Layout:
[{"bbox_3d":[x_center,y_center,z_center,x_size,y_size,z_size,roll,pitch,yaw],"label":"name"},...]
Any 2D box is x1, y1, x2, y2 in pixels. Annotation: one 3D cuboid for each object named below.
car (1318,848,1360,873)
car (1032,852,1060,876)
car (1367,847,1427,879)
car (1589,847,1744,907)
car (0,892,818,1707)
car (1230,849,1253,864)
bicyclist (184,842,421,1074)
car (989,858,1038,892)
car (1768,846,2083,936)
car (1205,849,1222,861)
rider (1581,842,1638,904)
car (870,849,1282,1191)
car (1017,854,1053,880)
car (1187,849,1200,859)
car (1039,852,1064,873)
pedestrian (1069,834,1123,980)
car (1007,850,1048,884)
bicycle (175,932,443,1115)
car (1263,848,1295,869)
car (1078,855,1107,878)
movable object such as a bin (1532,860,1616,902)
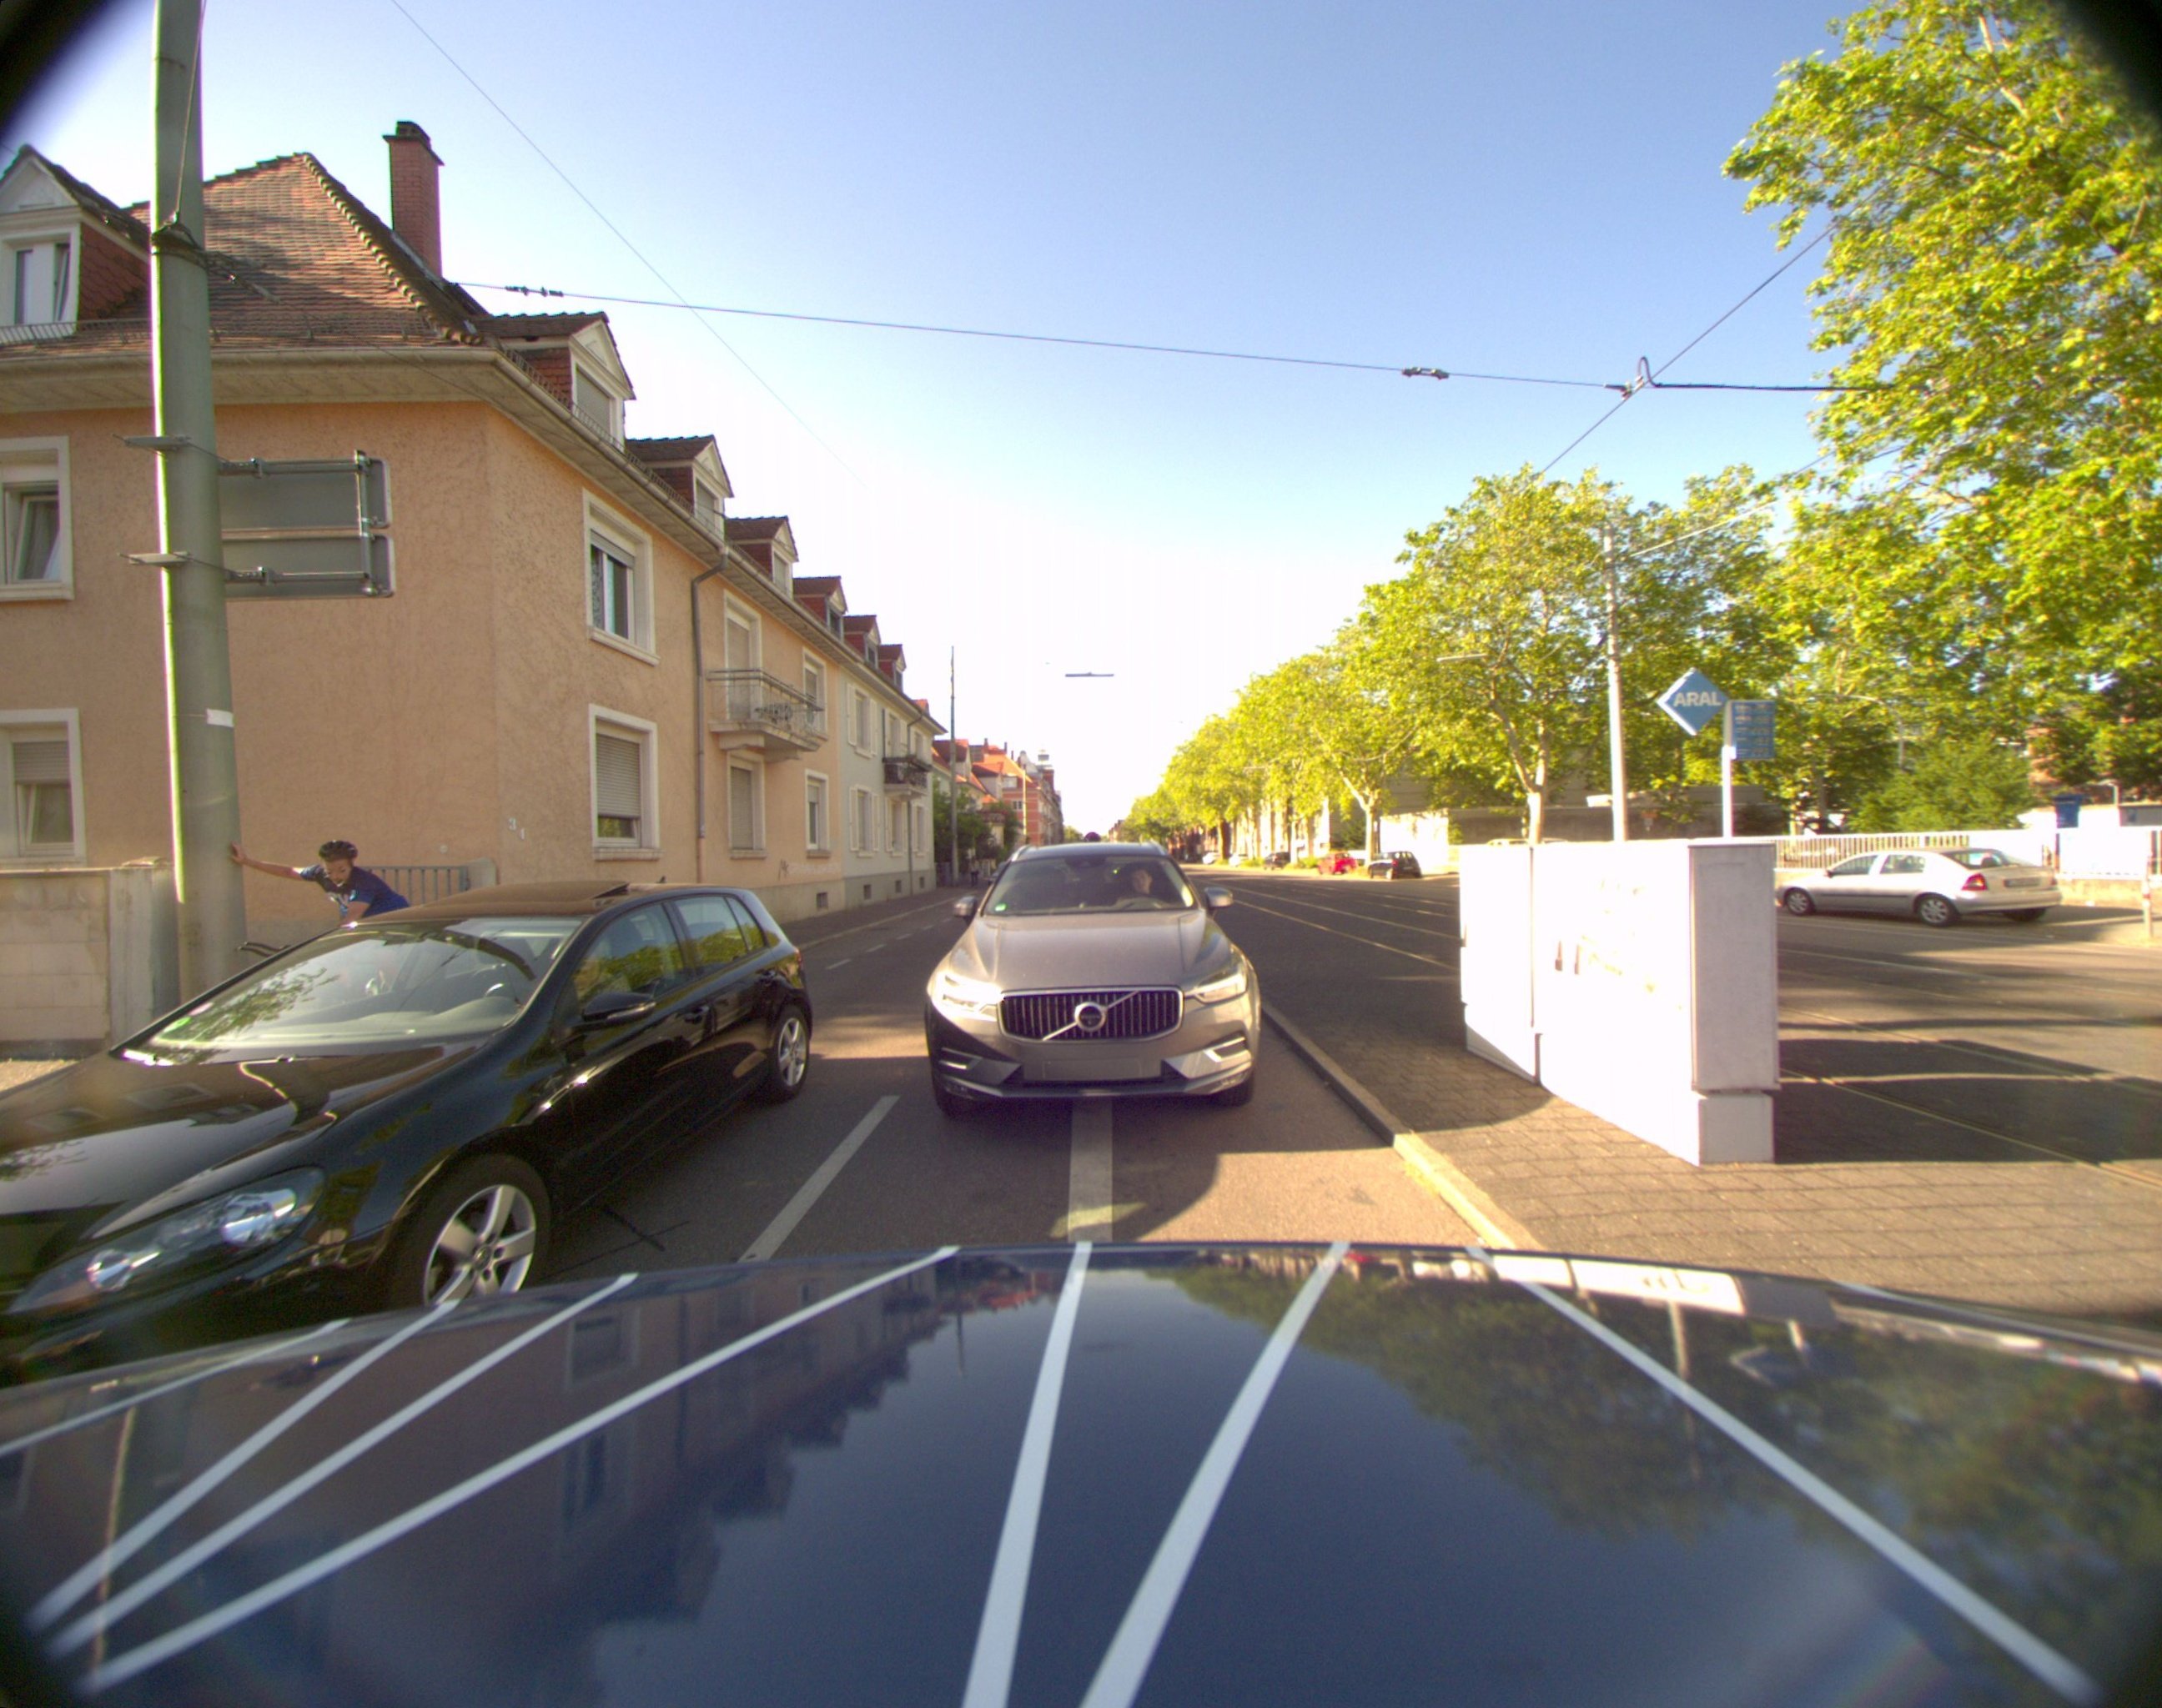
[{"bbox_3d":[16.926,0.405,50.043,1.661,1.486,3.377,-4,1,3],"label":"car"},{"bbox_3d":[-2.781,0.775,60.903,1.825,1.701,4.334,-2,1,1],"label":"car"},{"bbox_3d":[16.879,0.446,40.758,1.723,1.436,3.769,-4,1,3],"label":"car"},{"bbox_3d":[16.365,0.578,21.464,1.619,1.436,3.606,-4,1,3],"label":"car"},{"bbox_3d":[-2.768,1.036,3.381,1.717,1.430,3.990,-2,1,1],"label":"car"},{"bbox_3d":[17.621,0.247,83.457,1.754,1.532,3.878,-4,1,3],"label":"car"},{"bbox_3d":[-6.031,0.773,5.946,1.021,1.684,0.729,2,0,-7],"label":"bicyclist"},{"bbox_3d":[-3.229,0.965,37.130,1.825,1.422,4.334,-2,1,1],"label":"car"},{"bbox_3d":[16.200,0.631,14.943,1.687,1.358,3.989,-6,0,1],"label":"car"},{"bbox_3d":[17.576,0.103,100.671,1.661,1.452,3.730,-4,1,3],"label":"car"},{"bbox_3d":[14.562,0.514,20.943,0.725,1.639,1.106,-2,1,-4],"label":"rider"},{"bbox_3d":[0.127,0.799,5.829,1.924,1.579,4.387,-2,1,4],"label":"car"},{"bbox_3d":[-2.798,0.765,47.026,1.825,1.424,4.334,-2,1,1],"label":"car"},{"bbox_3d":[18.556,0.061,125.547,1.661,1.452,3.730,-4,1,3],"label":"car"},{"bbox_3d":[-2.593,0.697,67.270,1.825,1.701,4.334,-2,1,1],"label":"car"},{"bbox_3d":[0.193,0.671,9.947,0.609,1.832,0.599,-2,1,1],"label":"pedestrian"},{"bbox_3d":[-2.906,0.691,42.384,1.825,1.701,4.334,-2,1,1],"label":"car"},{"bbox_3d":[-5.918,1.240,5.969,0.556,1.069,1.624,2,0,-7],"label":"bicycle"},{"bbox_3d":[17.145,0.340,65.956,1.754,1.582,3.878,-4,1,3],"label":"car"},{"bbox_3d":[0.790,0.821,50.933,1.825,1.422,4.491,-2,-1,2],"label":"car"},{"bbox_3d":[14.388,0.770,22.253,1.178,1.097,1.834,-2,1,-4],"label":"movable object such as a bin"}]
